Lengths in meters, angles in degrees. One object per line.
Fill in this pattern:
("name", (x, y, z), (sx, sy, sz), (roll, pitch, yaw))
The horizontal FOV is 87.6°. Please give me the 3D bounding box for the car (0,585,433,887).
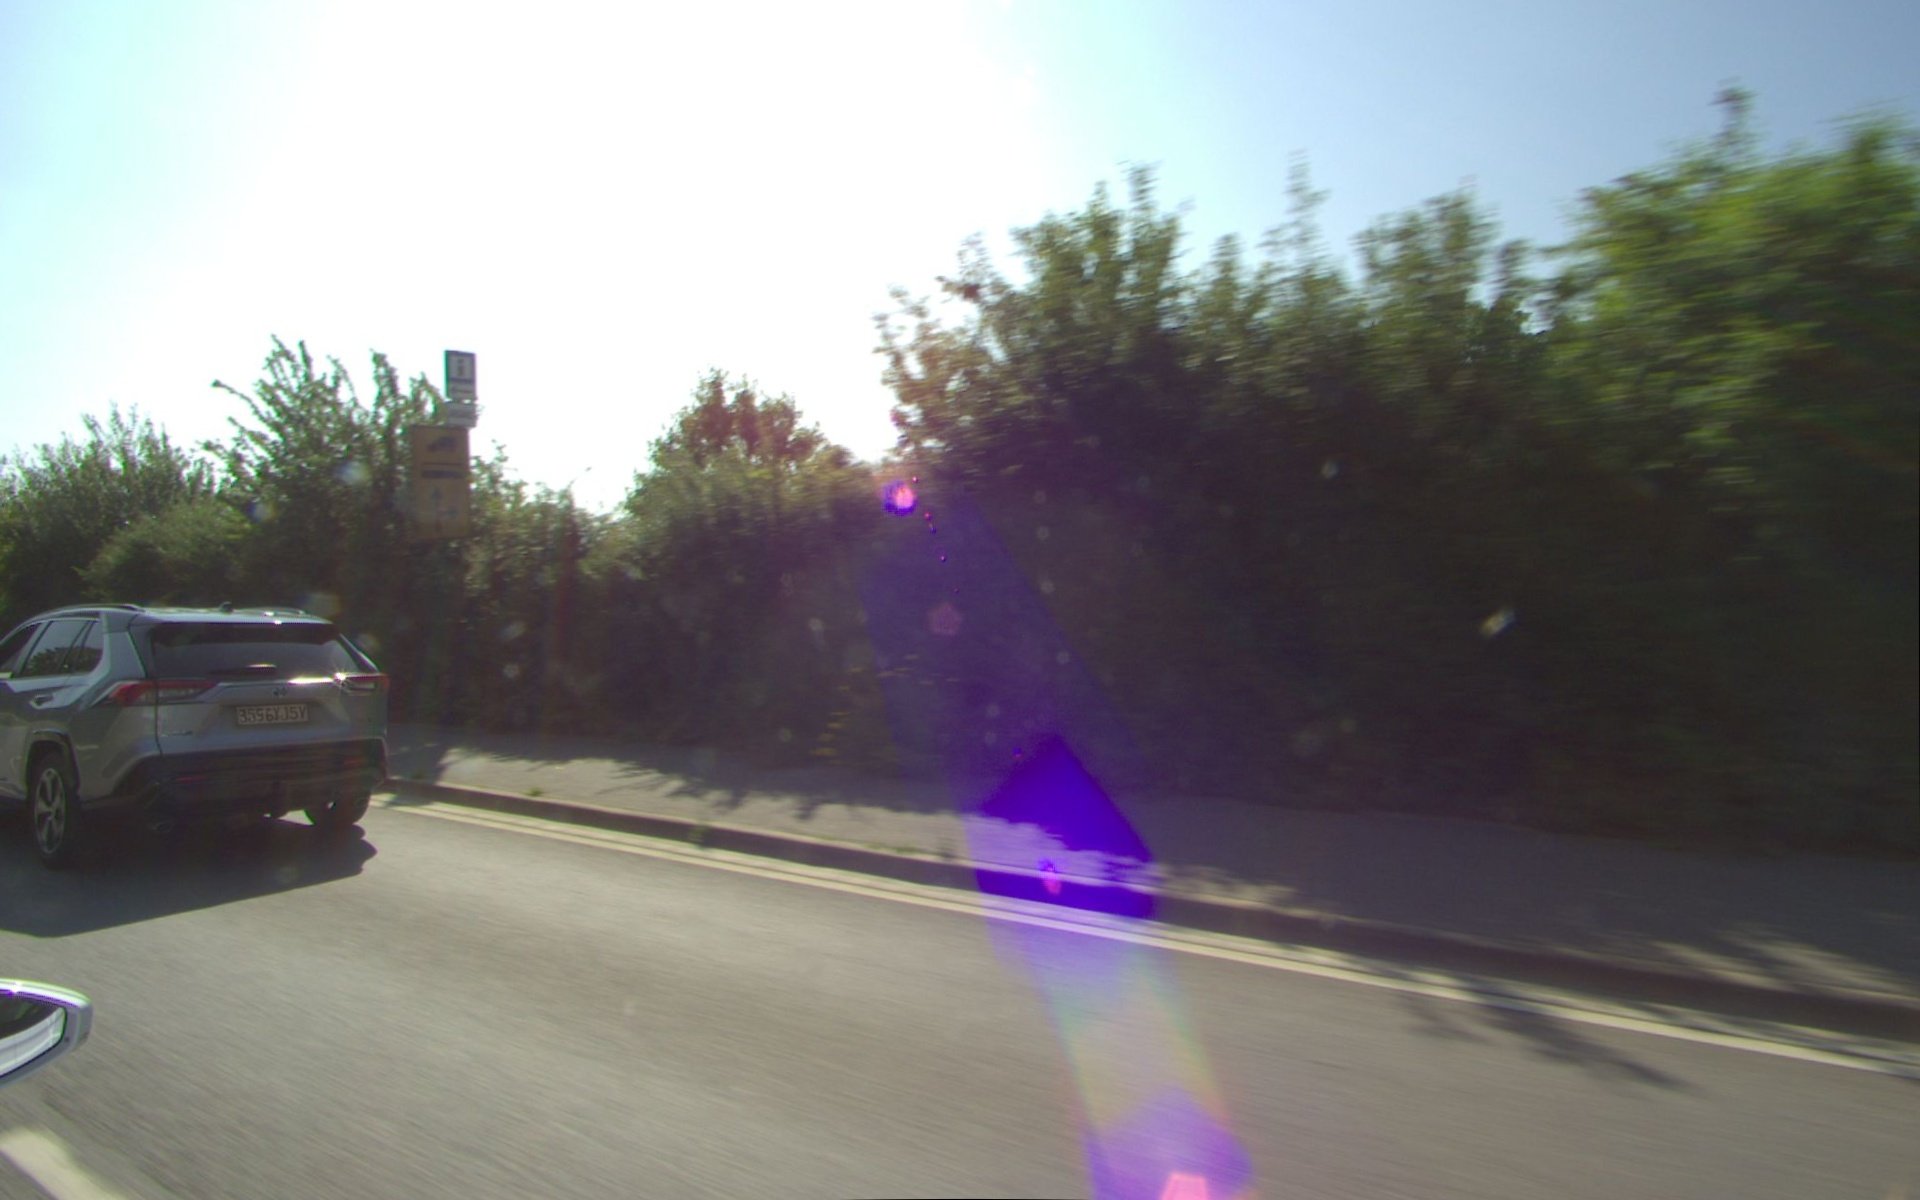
("car", (-6.295, 0.823, 7.702), (4.616, 1.701, 1.899), (-1, -2, 32))
